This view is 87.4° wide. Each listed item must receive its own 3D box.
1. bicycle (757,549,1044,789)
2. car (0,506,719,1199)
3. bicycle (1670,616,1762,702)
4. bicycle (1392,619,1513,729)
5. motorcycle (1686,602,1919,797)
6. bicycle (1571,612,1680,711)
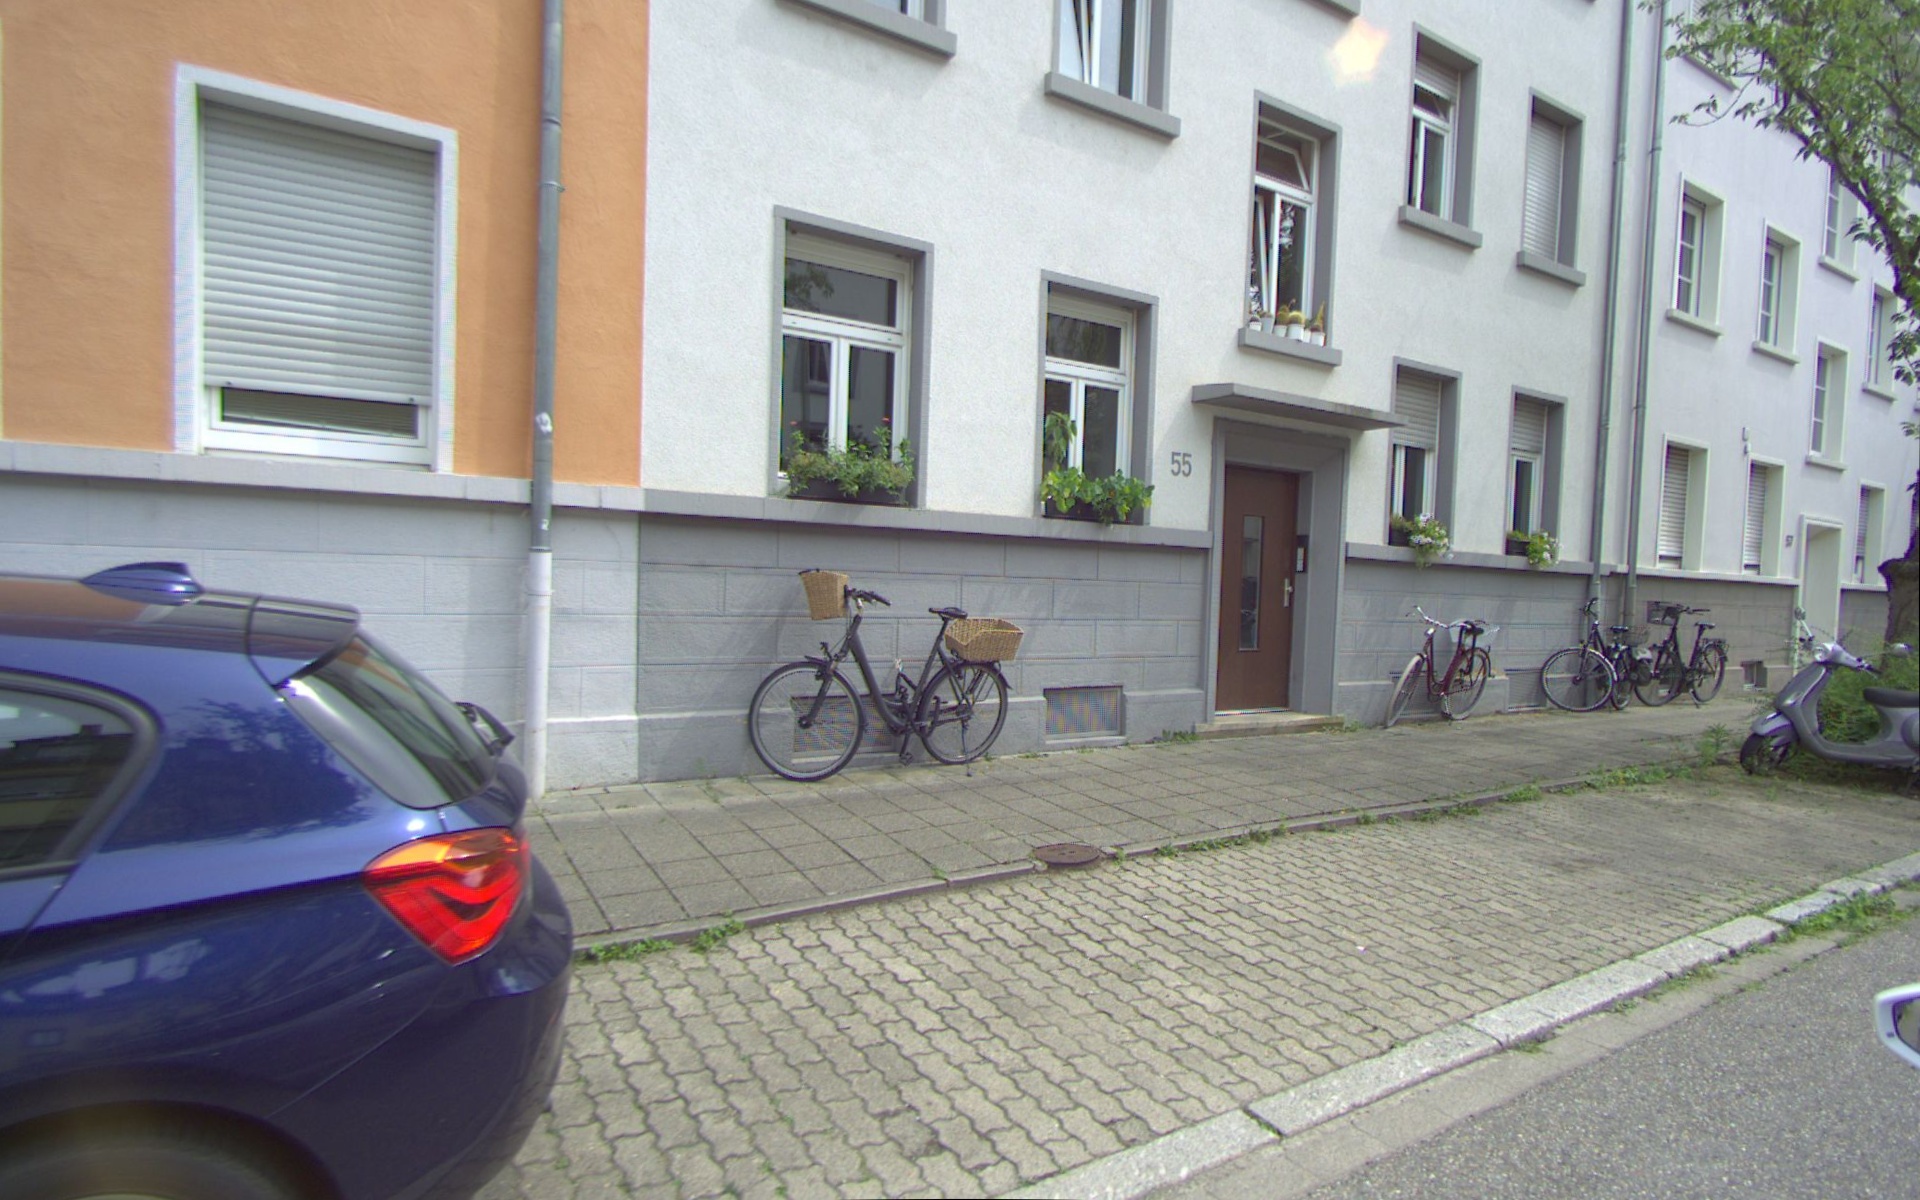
[{"bbox_3d":[-0.332,0.411,6.317,1.791,1.352,0.427,1,0,-31],"label":"bicycle"},{"bbox_3d":[-2.694,0.559,1.607,4.078,1.504,1.824,2,4,-34],"label":"car"},{"bbox_3d":[9.434,0.725,12.524,1.418,1.020,0.418,1,0,-31],"label":"bicycle"},{"bbox_3d":[4.698,0.685,9.555,1.418,0.979,0.308,1,0,-31],"label":"bicycle"},{"bbox_3d":[7.094,0.743,8.008,0.787,1.426,1.993,1,0,-42],"label":"motorcycle"},{"bbox_3d":[7.253,0.653,10.933,1.418,1.020,0.418,1,0,-31],"label":"bicycle"}]
